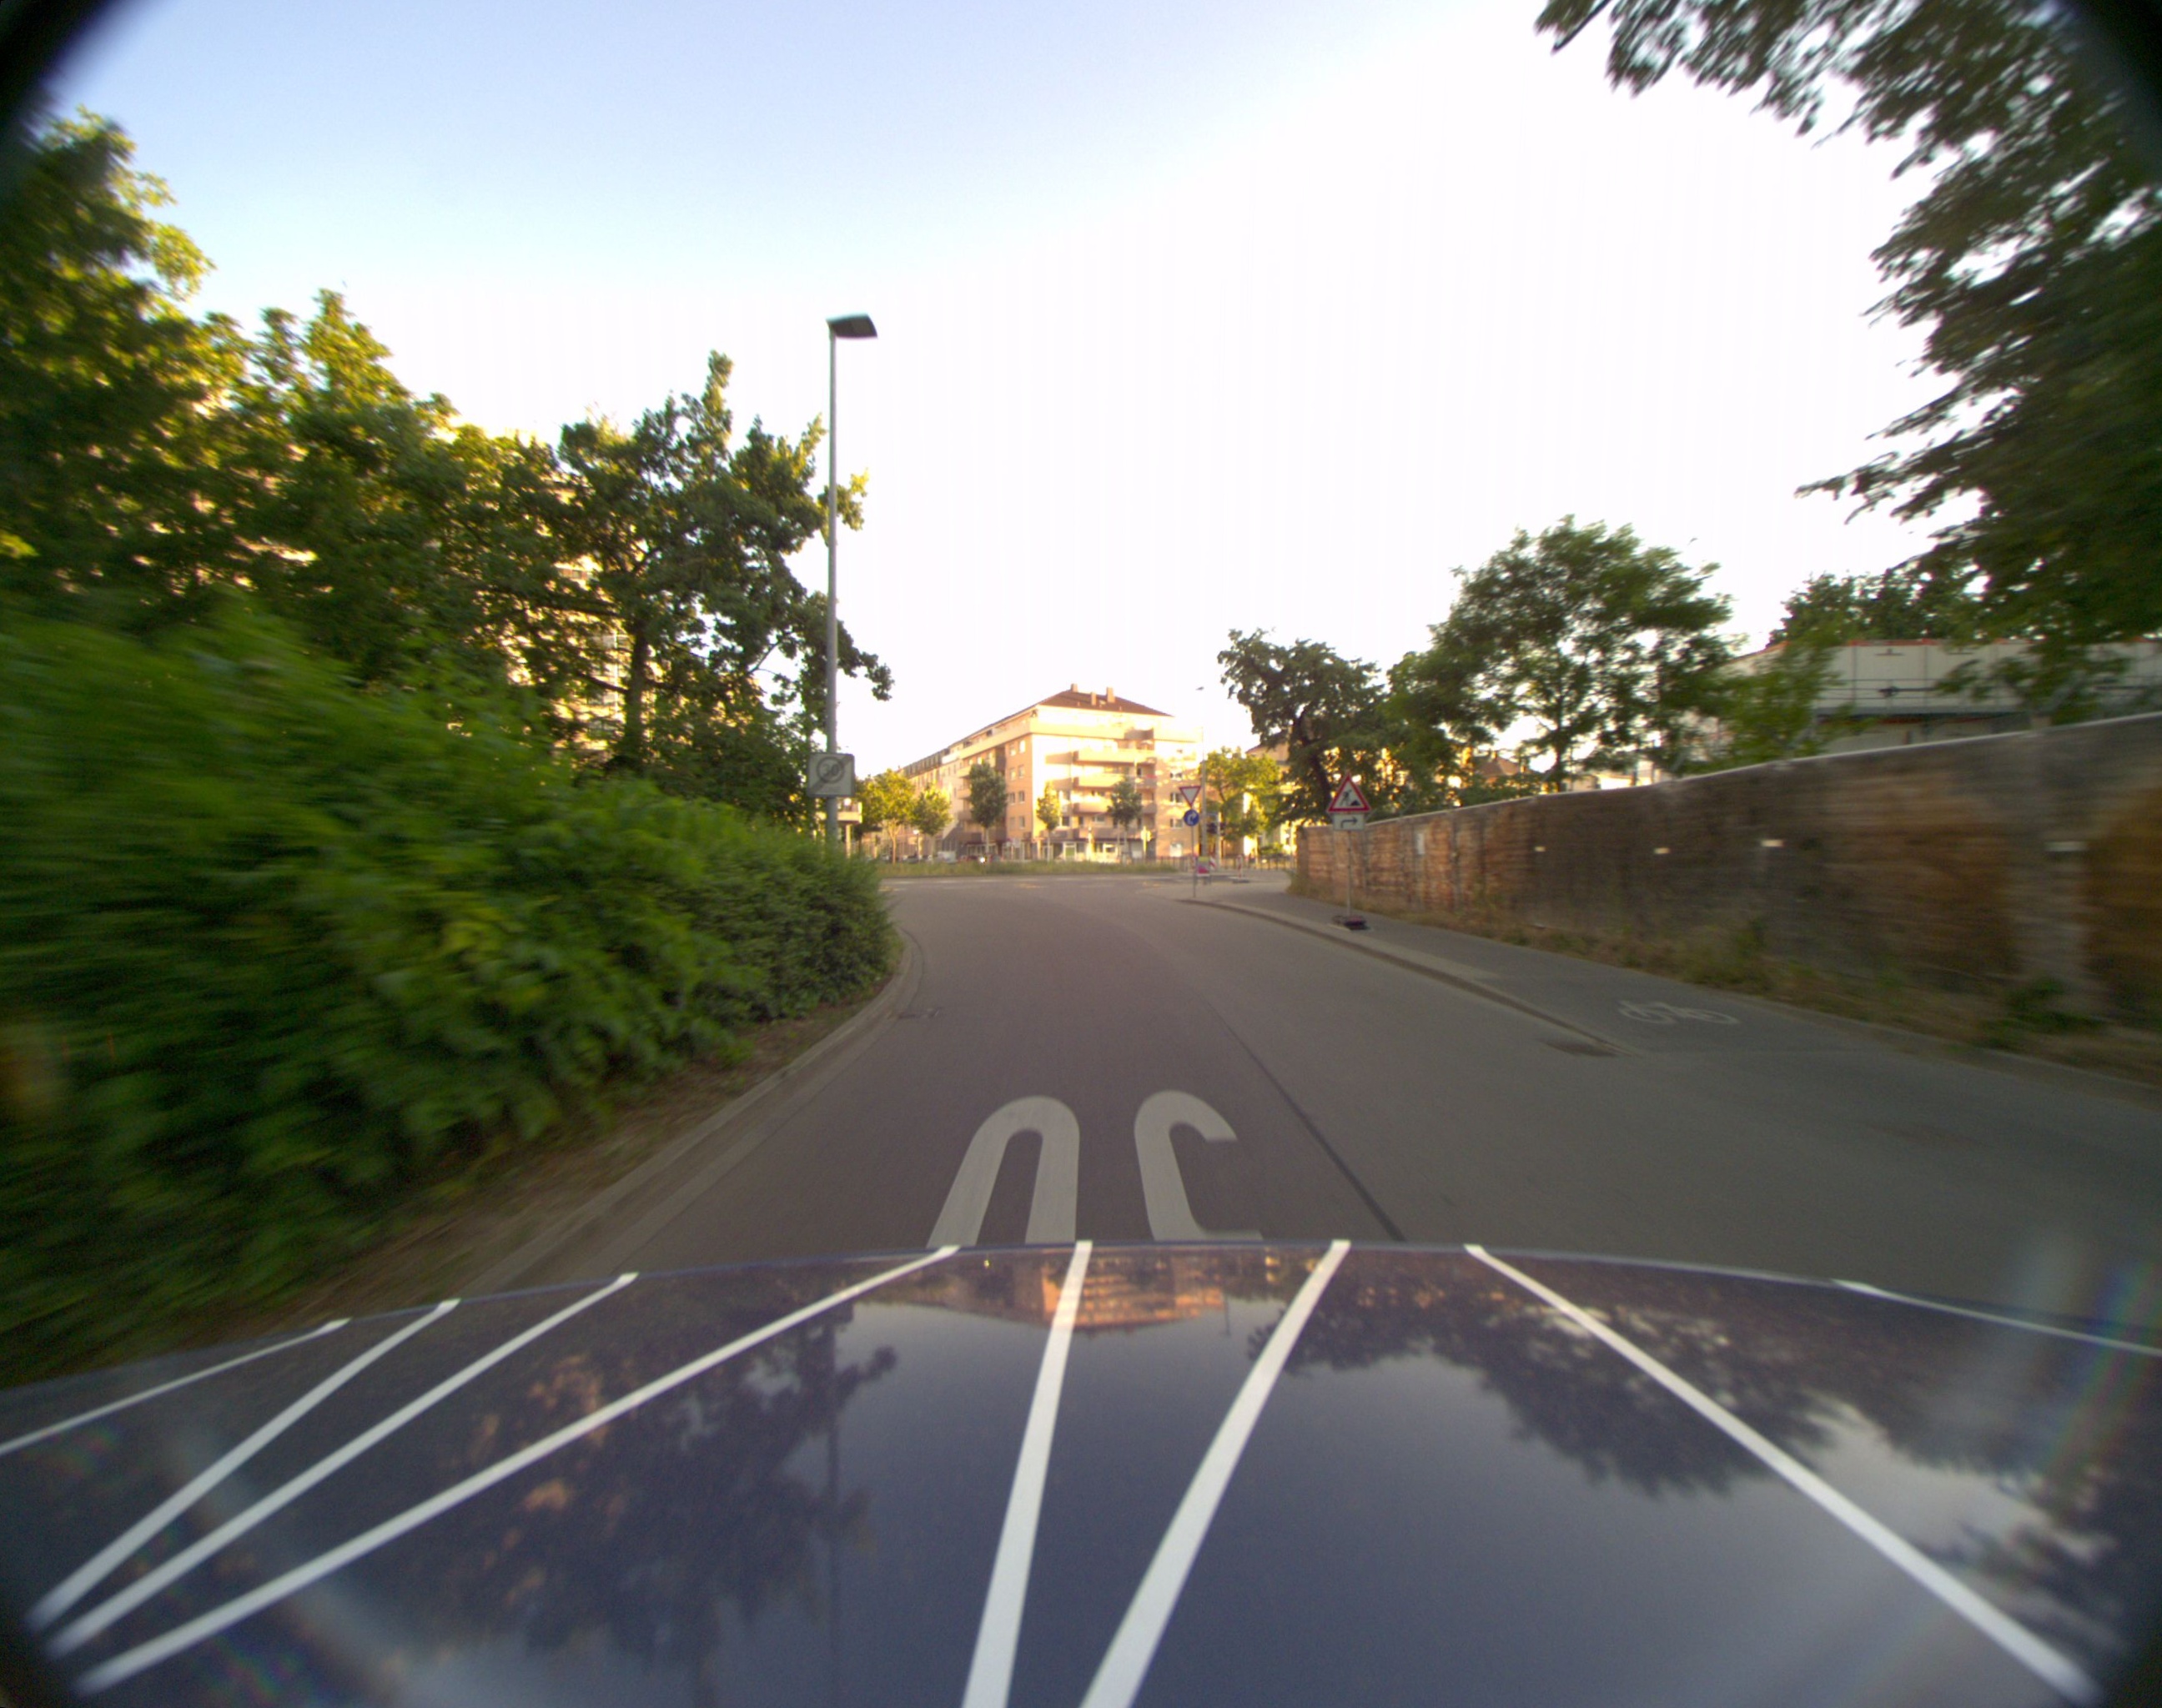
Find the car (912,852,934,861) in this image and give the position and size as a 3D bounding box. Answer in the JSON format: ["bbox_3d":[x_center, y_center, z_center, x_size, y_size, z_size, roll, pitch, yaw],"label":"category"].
[{"bbox_3d":[-21.804,0.331,104.935,2.003,1.237,3.991,-1,1,-27],"label":"car"}]

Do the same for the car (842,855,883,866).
[{"bbox_3d":[-27.184,0.799,94.638,4.651,1.390,1.995,-1,1,-26],"label":"car"}]

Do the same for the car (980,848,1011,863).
[{"bbox_3d":[-9.178,0.122,81.070,2.003,1.477,3.991,-1,1,-27],"label":"car"}]

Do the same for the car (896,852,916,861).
[{"bbox_3d":[-26.294,0.322,113.835,2.003,1.237,3.991,-1,1,-27],"label":"car"}]

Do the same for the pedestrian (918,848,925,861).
[{"bbox_3d":[-25.015,0.114,119.168,0.893,2.002,0.769,-1,1,-27],"label":"pedestrian"}]

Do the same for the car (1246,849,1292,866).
[{"bbox_3d":[18.279,0.309,73.761,4.006,1.496,1.995,-1,2,-28],"label":"car"}]

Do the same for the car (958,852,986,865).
[{"bbox_3d":[-12.728,0.524,88.549,2.003,1.477,3.991,-1,1,-27],"label":"car"}]

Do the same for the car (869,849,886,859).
[{"bbox_3d":[-34.847,-0.001,130.295,2.003,1.521,3.991,-1,1,-27],"label":"car"}]

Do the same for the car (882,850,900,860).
[{"bbox_3d":[-30.852,0.155,123.441,2.003,1.521,3.991,-1,1,-27],"label":"car"}]

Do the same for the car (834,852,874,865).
[{"bbox_3d":[-29.646,0.579,99.201,4.651,1.551,1.995,-1,1,-26],"label":"car"}]

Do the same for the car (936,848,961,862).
[{"bbox_3d":[-16.802,0.131,95.971,2.003,1.740,3.991,-1,1,-27],"label":"car"}]
